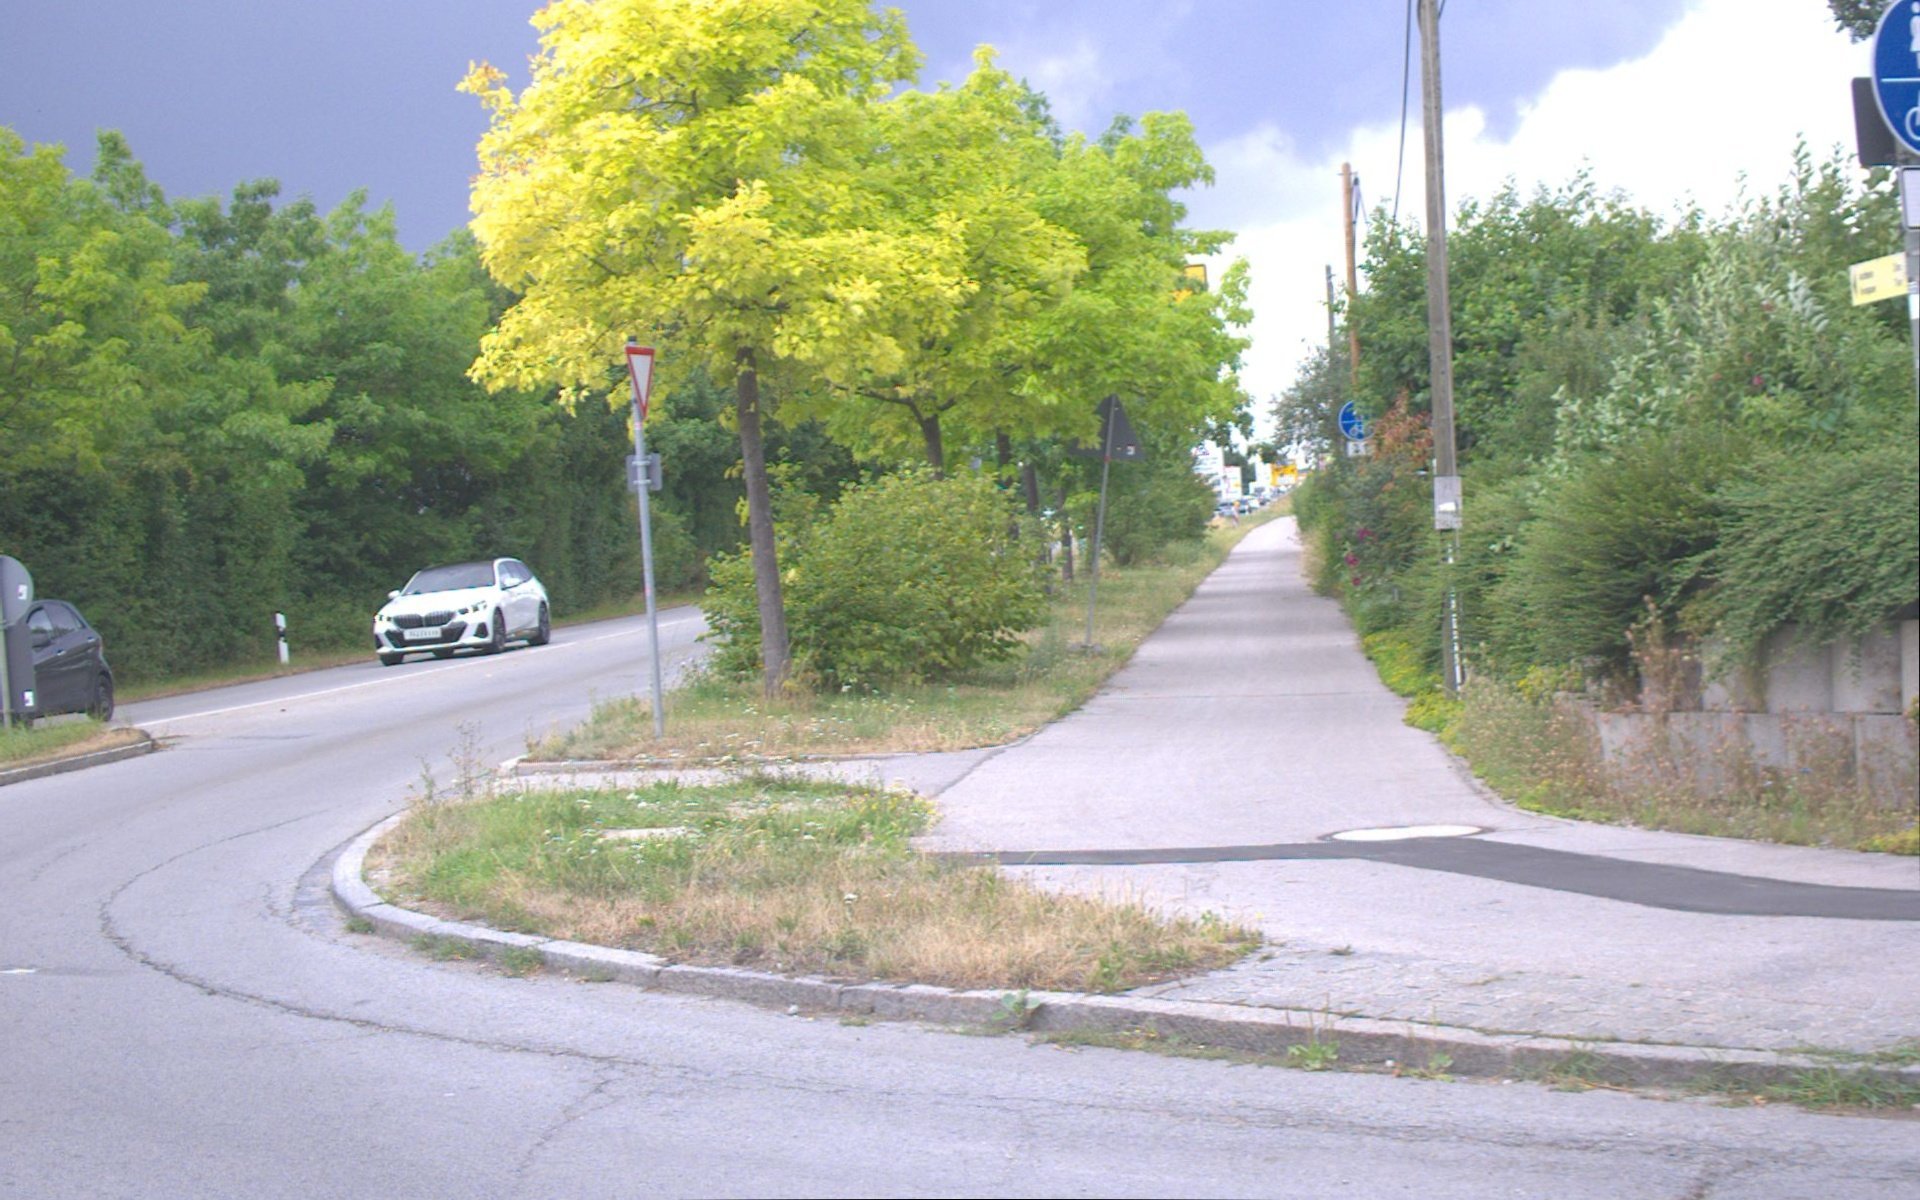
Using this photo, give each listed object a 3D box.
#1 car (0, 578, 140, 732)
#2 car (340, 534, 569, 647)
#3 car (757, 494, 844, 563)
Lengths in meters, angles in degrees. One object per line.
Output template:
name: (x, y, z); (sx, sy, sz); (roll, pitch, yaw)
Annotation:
car: (-10.602, 0.612, 37.425); (1.683, 1.449, 3.999); (-2, 3, 11)
car: (-7.955, -0.188, 54.611); (2.214, 1.449, 4.942); (-3, 3, 8)
car: (-4.228, -1.910, 91.941); (1.993, 1.596, 4.665); (-6, 1, 0)
